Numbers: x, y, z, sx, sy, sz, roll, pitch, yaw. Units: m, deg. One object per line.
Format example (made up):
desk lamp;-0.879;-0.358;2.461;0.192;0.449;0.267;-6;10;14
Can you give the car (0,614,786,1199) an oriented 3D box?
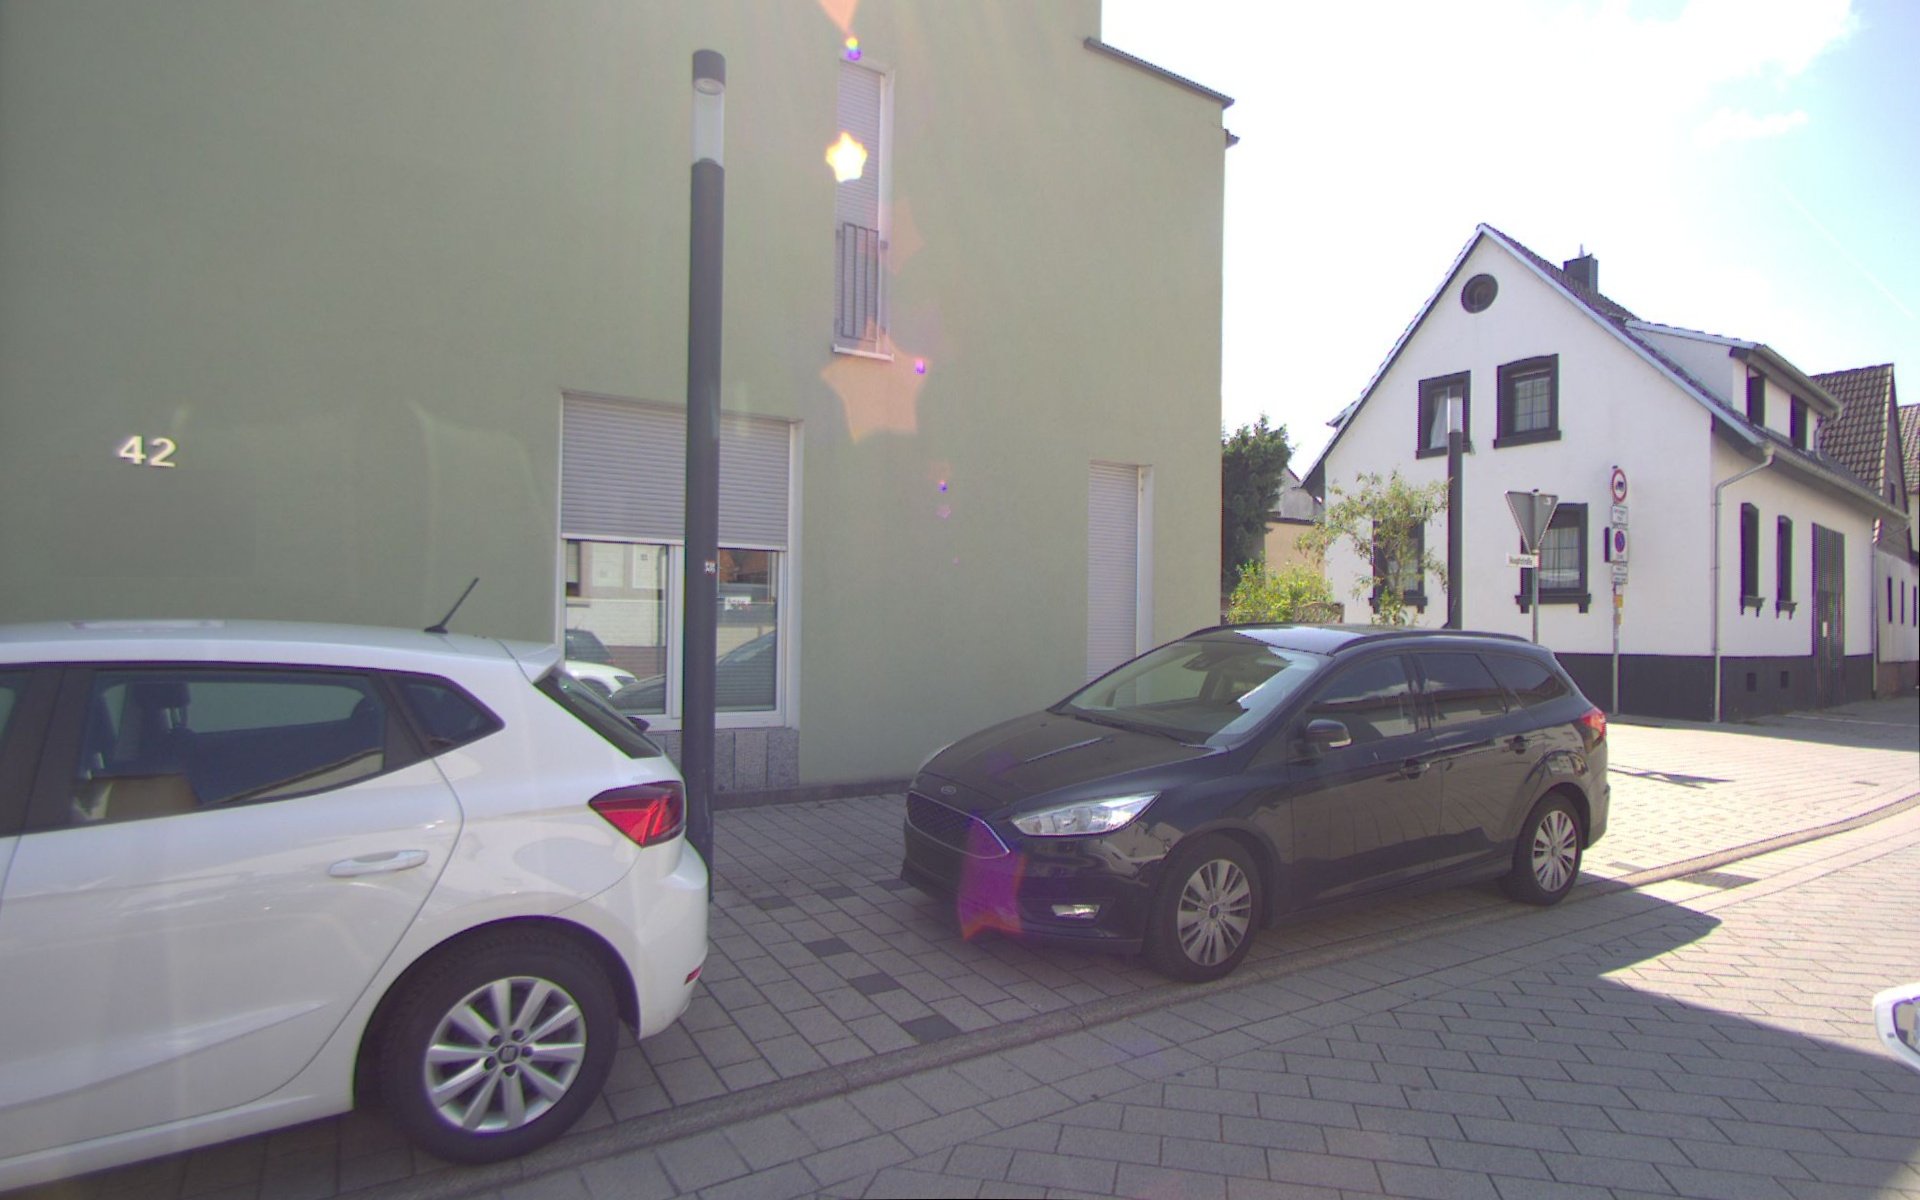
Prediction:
car;-2.626;0.787;2.818;3.834;1.430;1.748;2;0;-31

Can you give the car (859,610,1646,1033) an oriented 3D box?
car;1.750;0.876;5.569;4.229;1.510;1.804;2;0;-31
